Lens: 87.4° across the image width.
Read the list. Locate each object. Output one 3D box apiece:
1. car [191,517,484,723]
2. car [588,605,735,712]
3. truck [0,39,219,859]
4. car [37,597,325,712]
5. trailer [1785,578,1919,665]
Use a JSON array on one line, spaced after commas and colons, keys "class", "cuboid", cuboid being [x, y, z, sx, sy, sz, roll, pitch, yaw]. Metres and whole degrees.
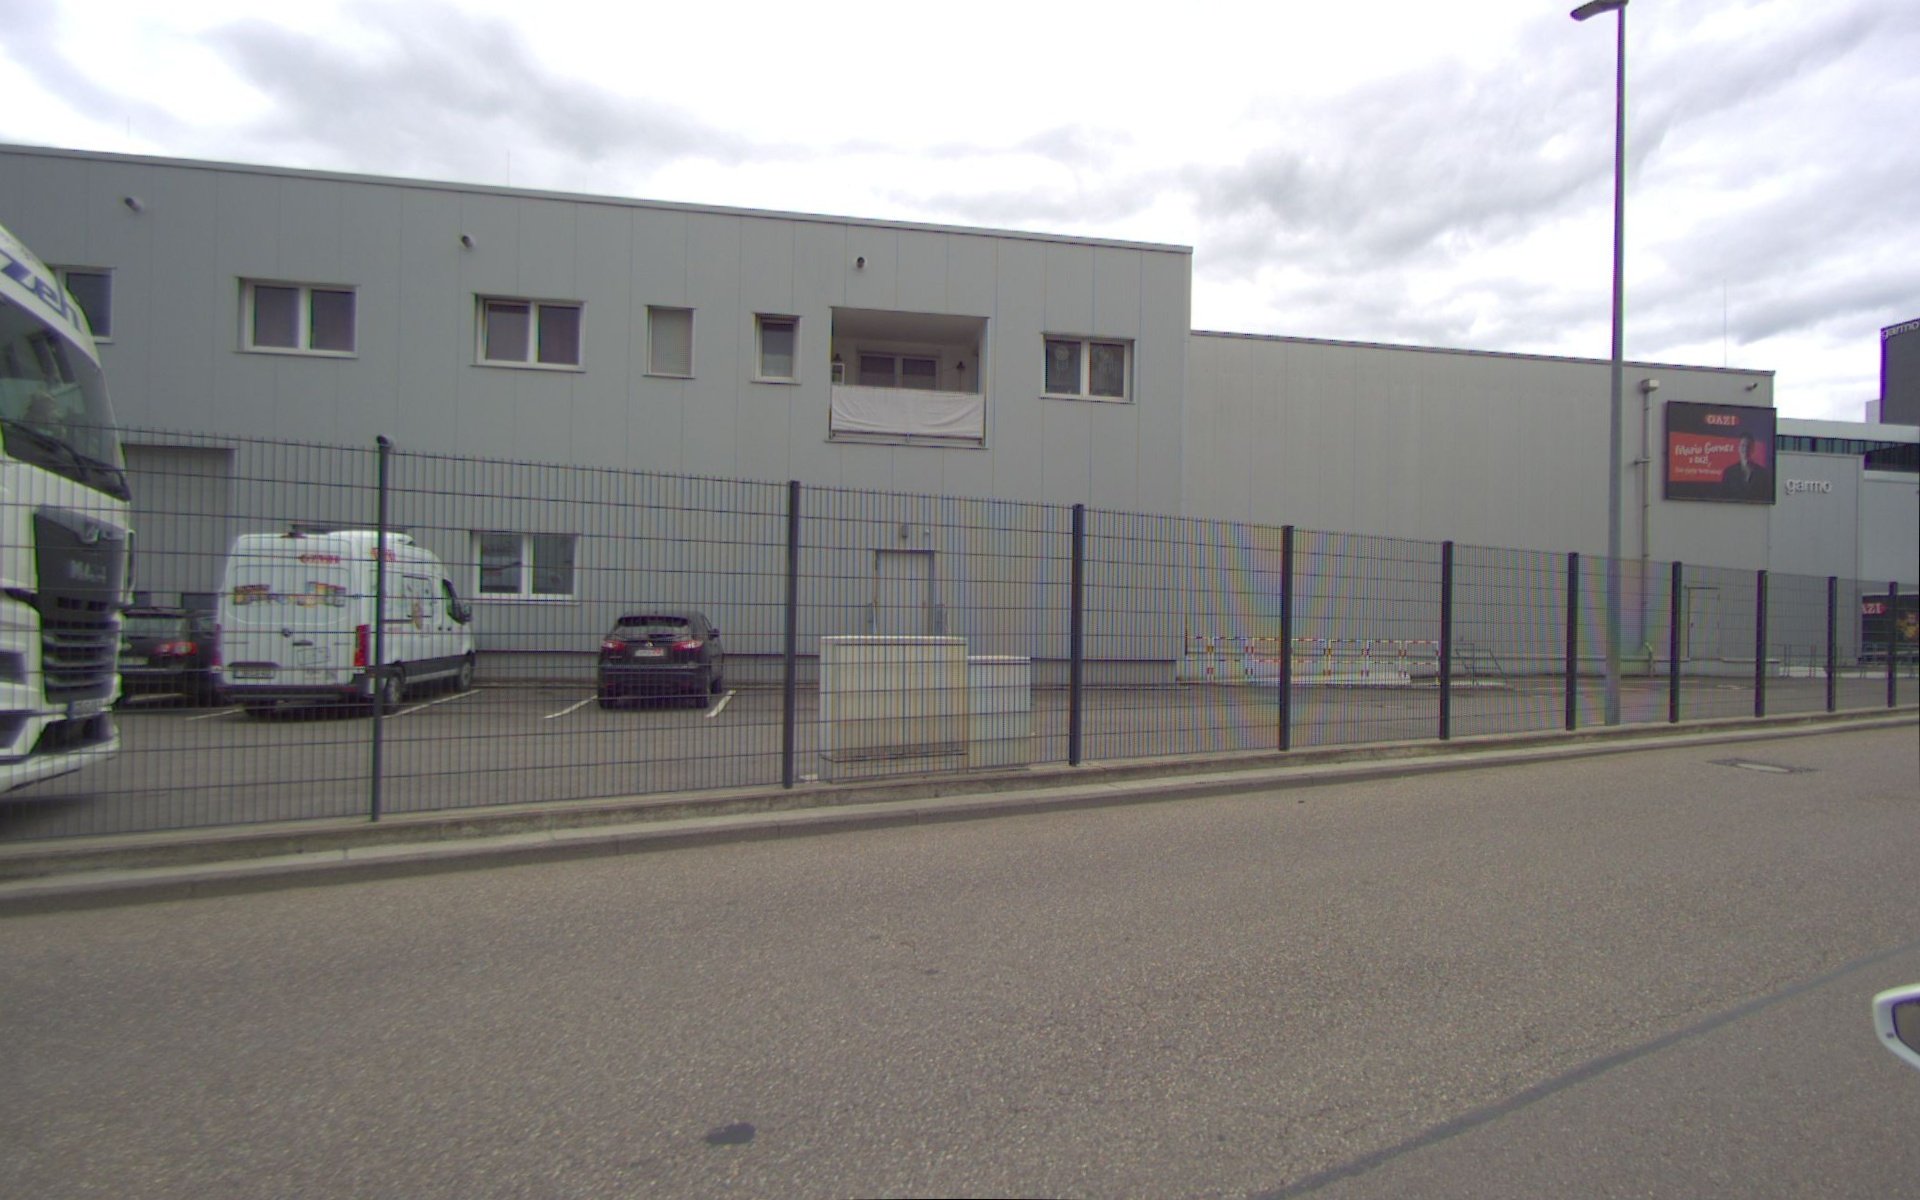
[{"class": "car", "cuboid": [-9.687, 0.253, 16.312, 2.201, 2.767, 5.423, 1, 1, -11]}, {"class": "car", "cuboid": [-5.155, 0.944, 17.861, 1.908, 1.598, 4.075, 1, 1, -8]}, {"class": "truck", "cuboid": [-7.908, -0.788, 5.499, 5.554, 4.214, 3.348, 1, -3, -27]}, {"class": "car", "cuboid": [-12.350, 0.779, 16.320, 1.908, 1.598, 4.075, 1, 1, -8]}, {"class": "trailer", "cuboid": [47.681, 1.109, 50.018, 12.389, 4.084, 2.746, 1, 0, -10]}]
